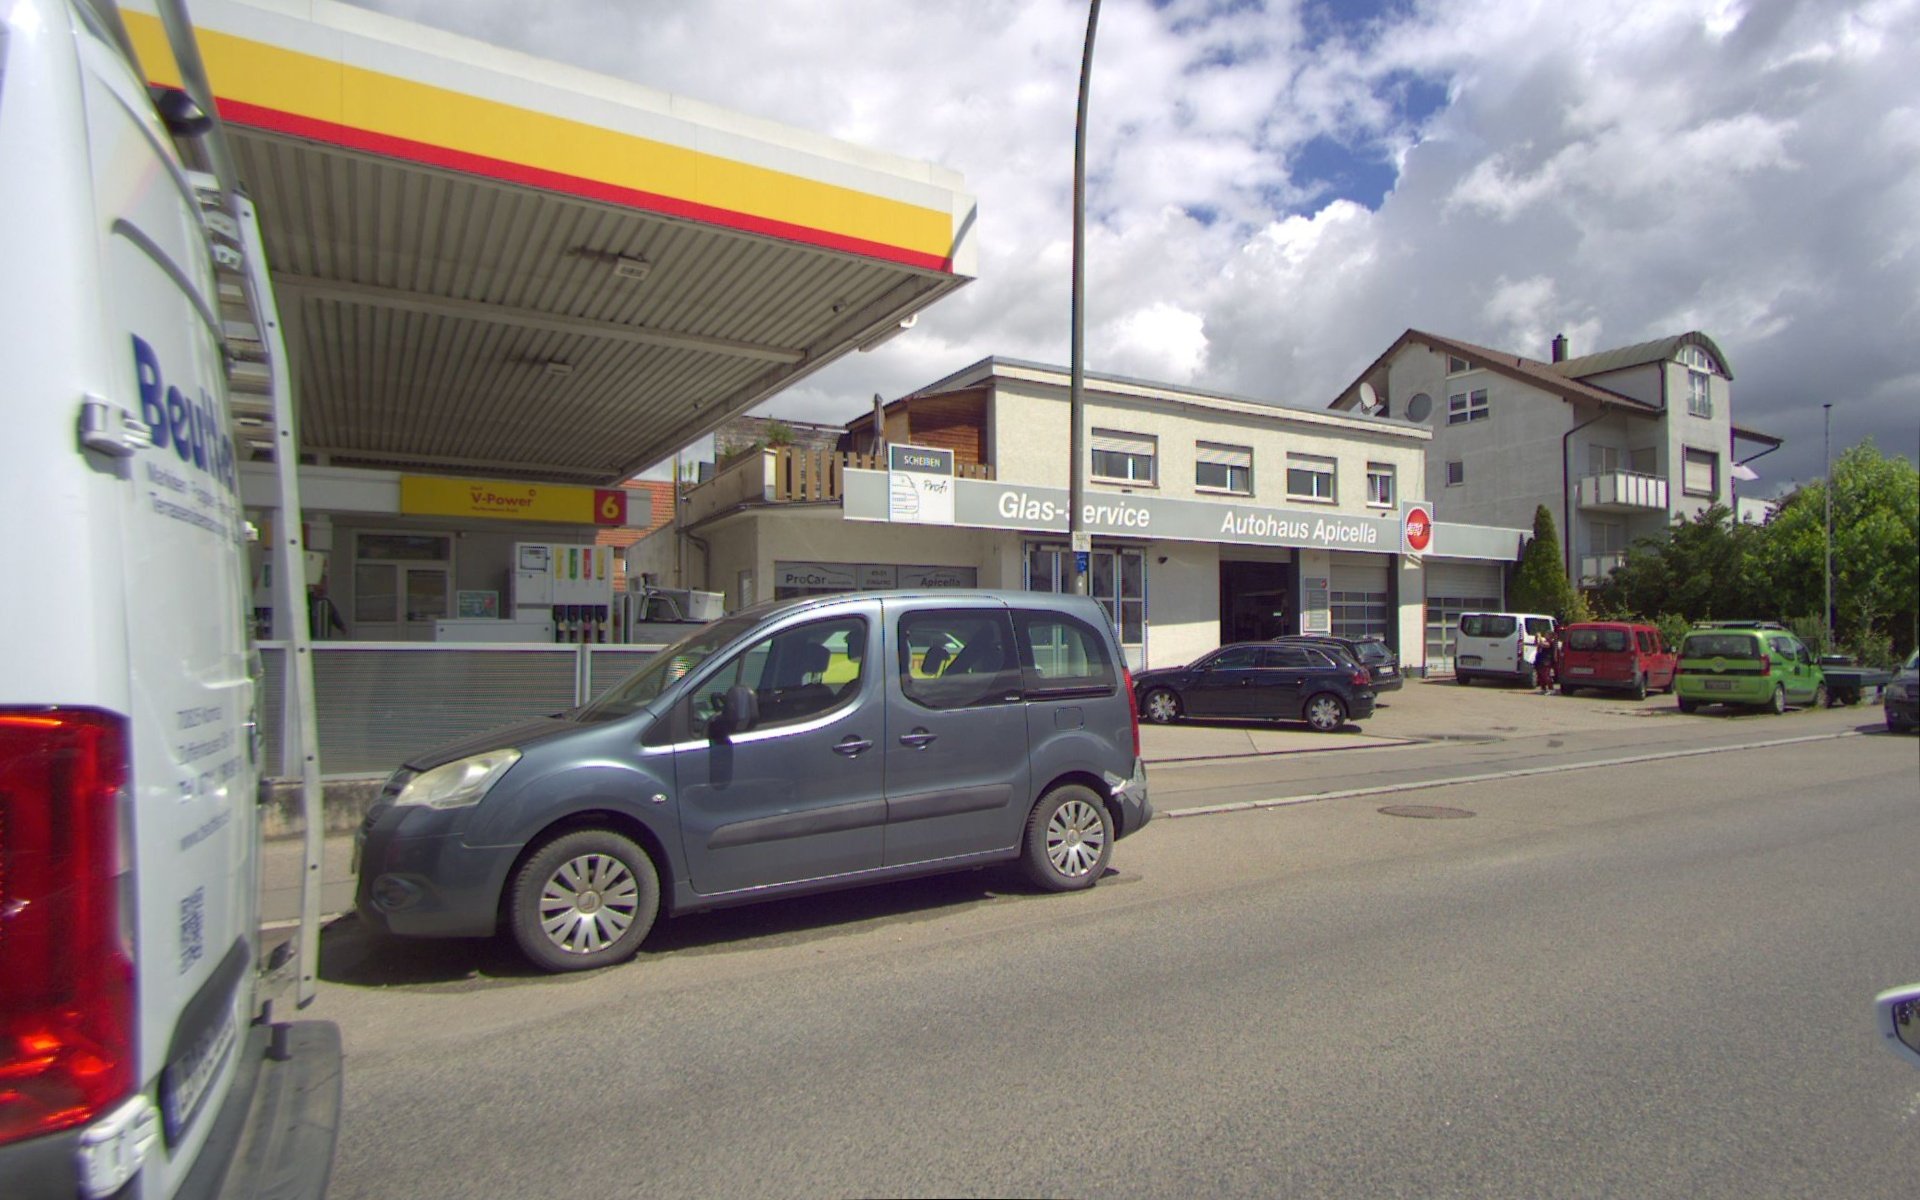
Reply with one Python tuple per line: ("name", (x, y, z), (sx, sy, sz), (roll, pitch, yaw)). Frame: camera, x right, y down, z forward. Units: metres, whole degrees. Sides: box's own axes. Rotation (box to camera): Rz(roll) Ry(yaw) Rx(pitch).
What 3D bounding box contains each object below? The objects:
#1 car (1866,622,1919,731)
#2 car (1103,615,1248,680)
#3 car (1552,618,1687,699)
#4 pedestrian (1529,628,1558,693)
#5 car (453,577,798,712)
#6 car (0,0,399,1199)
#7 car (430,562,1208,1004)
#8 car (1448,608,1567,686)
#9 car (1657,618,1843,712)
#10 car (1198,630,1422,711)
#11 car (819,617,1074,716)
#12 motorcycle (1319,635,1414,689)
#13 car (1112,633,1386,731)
("car", (17.065, 1.224, 16.750), (4.475, 1.702, 1.654), (1, -4, -31))
("car", (6.193, 1.318, 29.238), (1.851, 1.639, 3.961), (1, 0, -34))
("car", (16.730, 1.440, 25.399), (4.306, 1.809, 1.776), (3, 0, -42))
("pedestrian", (14.444, 1.488, 24.877), (0.487, 1.579, 0.410), (1, 0, -32))
("car", (-5.195, 0.646, 15.695), (4.884, 1.877, 1.976), (0, -1, 18))
("car", (-3.952, 0.081, 0.761), (6.094, 2.801, 1.983), (1, -3, -31))
("car", (-0.703, 0.836, 5.866), (4.142, 1.759, 1.721), (1, -5, -31))
("car", (15.509, 1.310, 28.353), (1.857, 2.006, 4.312), (1, -2, 44))
("car", (16.724, 1.301, 21.209), (4.290, 1.809, 1.782), (1, -1, -32))
("car", (7.600, 1.466, 22.215), (1.956, 1.512, 4.369), (0, -1, -35))
("car", (-0.190, 1.235, 18.576), (4.323, 1.632, 1.978), (0, -5, 14))
("motorcycle", (10.505, 1.578, 26.049), (0.838, 1.246, 2.184), (1, 0, -33))
("car", (4.843, 1.327, 17.126), (4.251, 1.509, 1.799), (-1, -2, 16))
